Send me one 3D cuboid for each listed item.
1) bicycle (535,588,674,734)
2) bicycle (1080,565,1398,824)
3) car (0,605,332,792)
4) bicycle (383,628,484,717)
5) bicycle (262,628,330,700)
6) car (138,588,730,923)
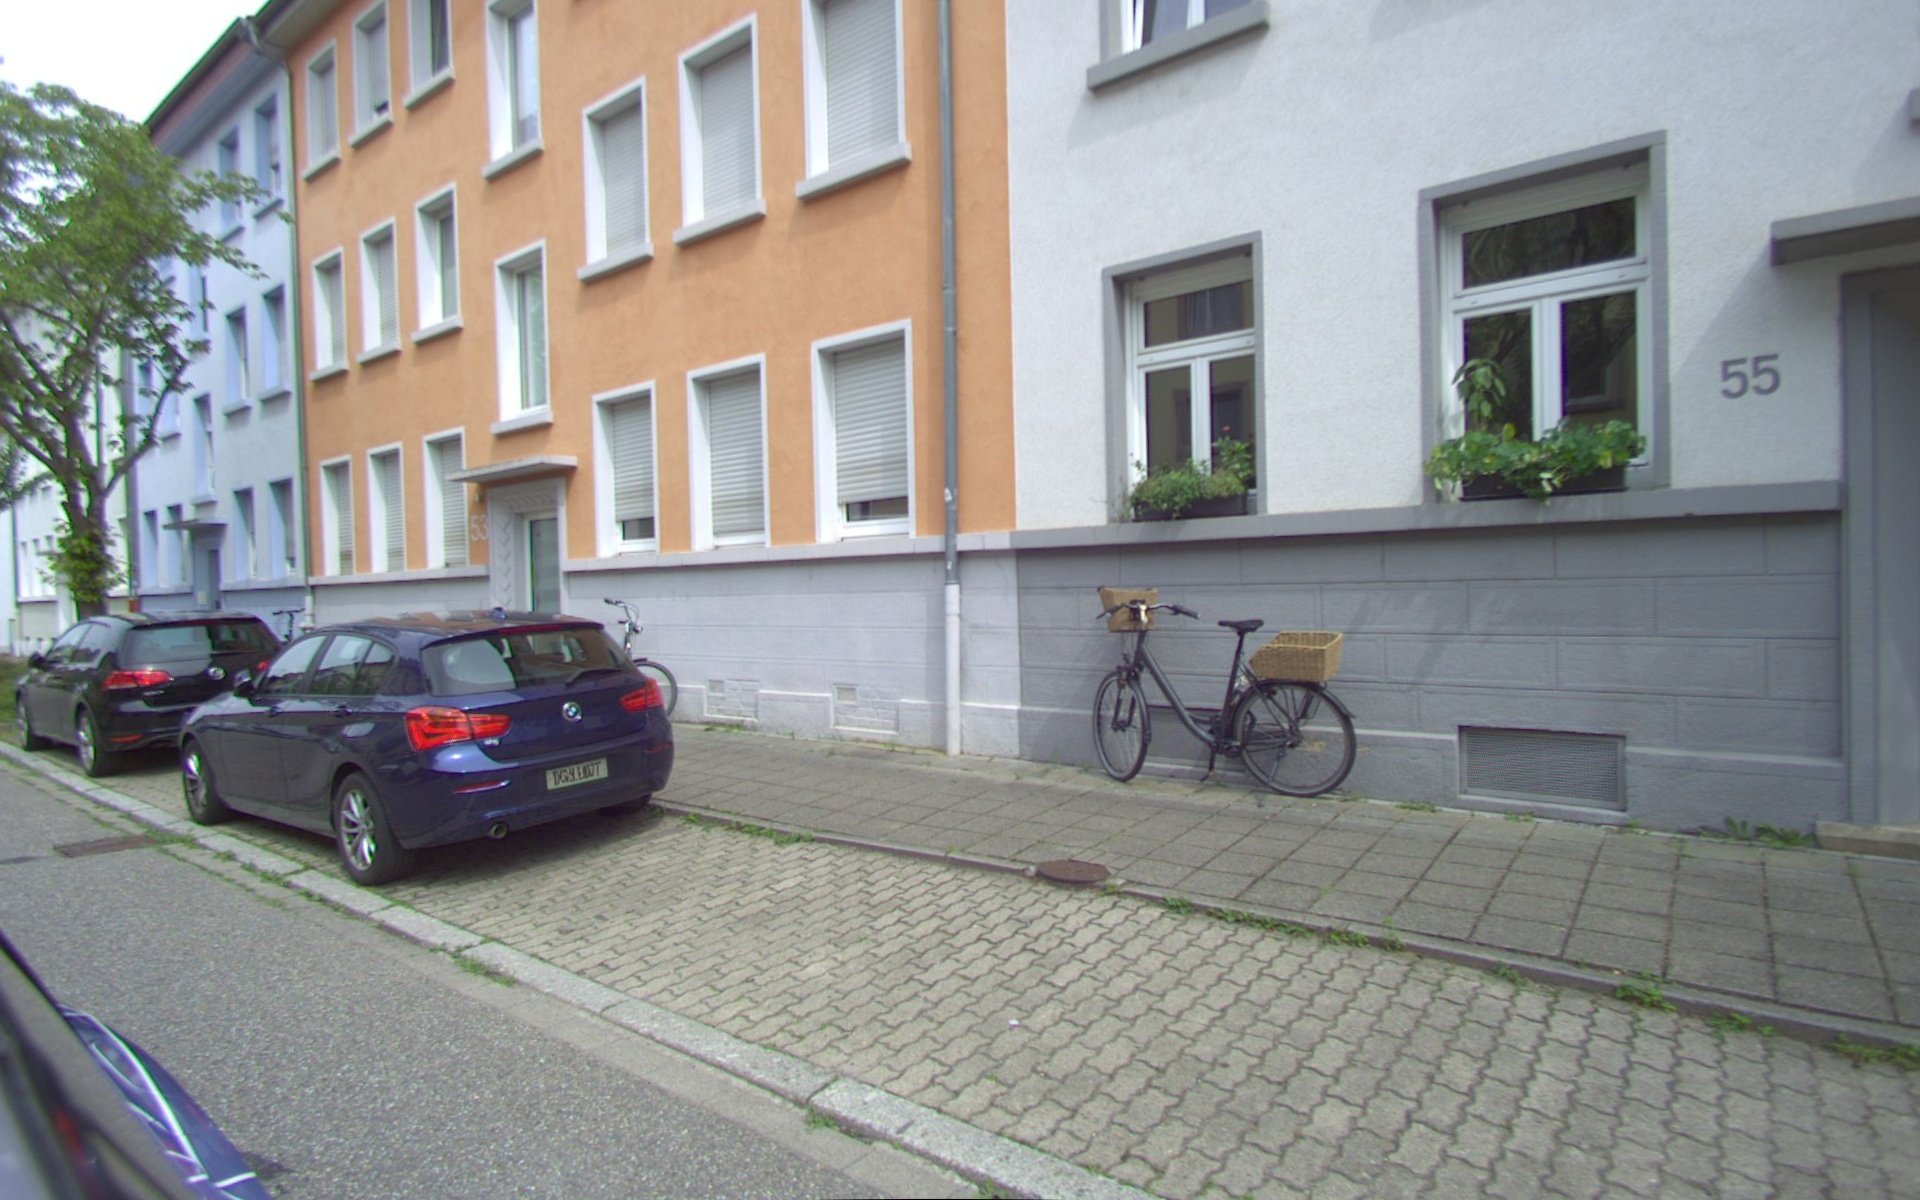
[{"bbox_3d":[-3.568,0.574,10.075,1.810,1.344,0.425,-1,-2,40],"label":"bicycle"},{"bbox_3d":[1.590,0.500,6.006,1.810,1.344,0.425,-1,-2,40],"label":"bicycle"},{"bbox_3d":[-8.396,0.846,10.471,4.086,1.495,1.820,-1,2,37],"label":"car"},{"bbox_3d":[-6.486,0.860,12.424,1.865,1.013,0.363,-1,-2,38],"label":"bicycle"},{"bbox_3d":[-9.877,0.933,15.036,1.567,1.003,0.363,-1,-1,38],"label":"bicycle"},{"bbox_3d":[-3.631,0.741,6.729,4.113,1.495,1.820,-1,3,37],"label":"car"}]
